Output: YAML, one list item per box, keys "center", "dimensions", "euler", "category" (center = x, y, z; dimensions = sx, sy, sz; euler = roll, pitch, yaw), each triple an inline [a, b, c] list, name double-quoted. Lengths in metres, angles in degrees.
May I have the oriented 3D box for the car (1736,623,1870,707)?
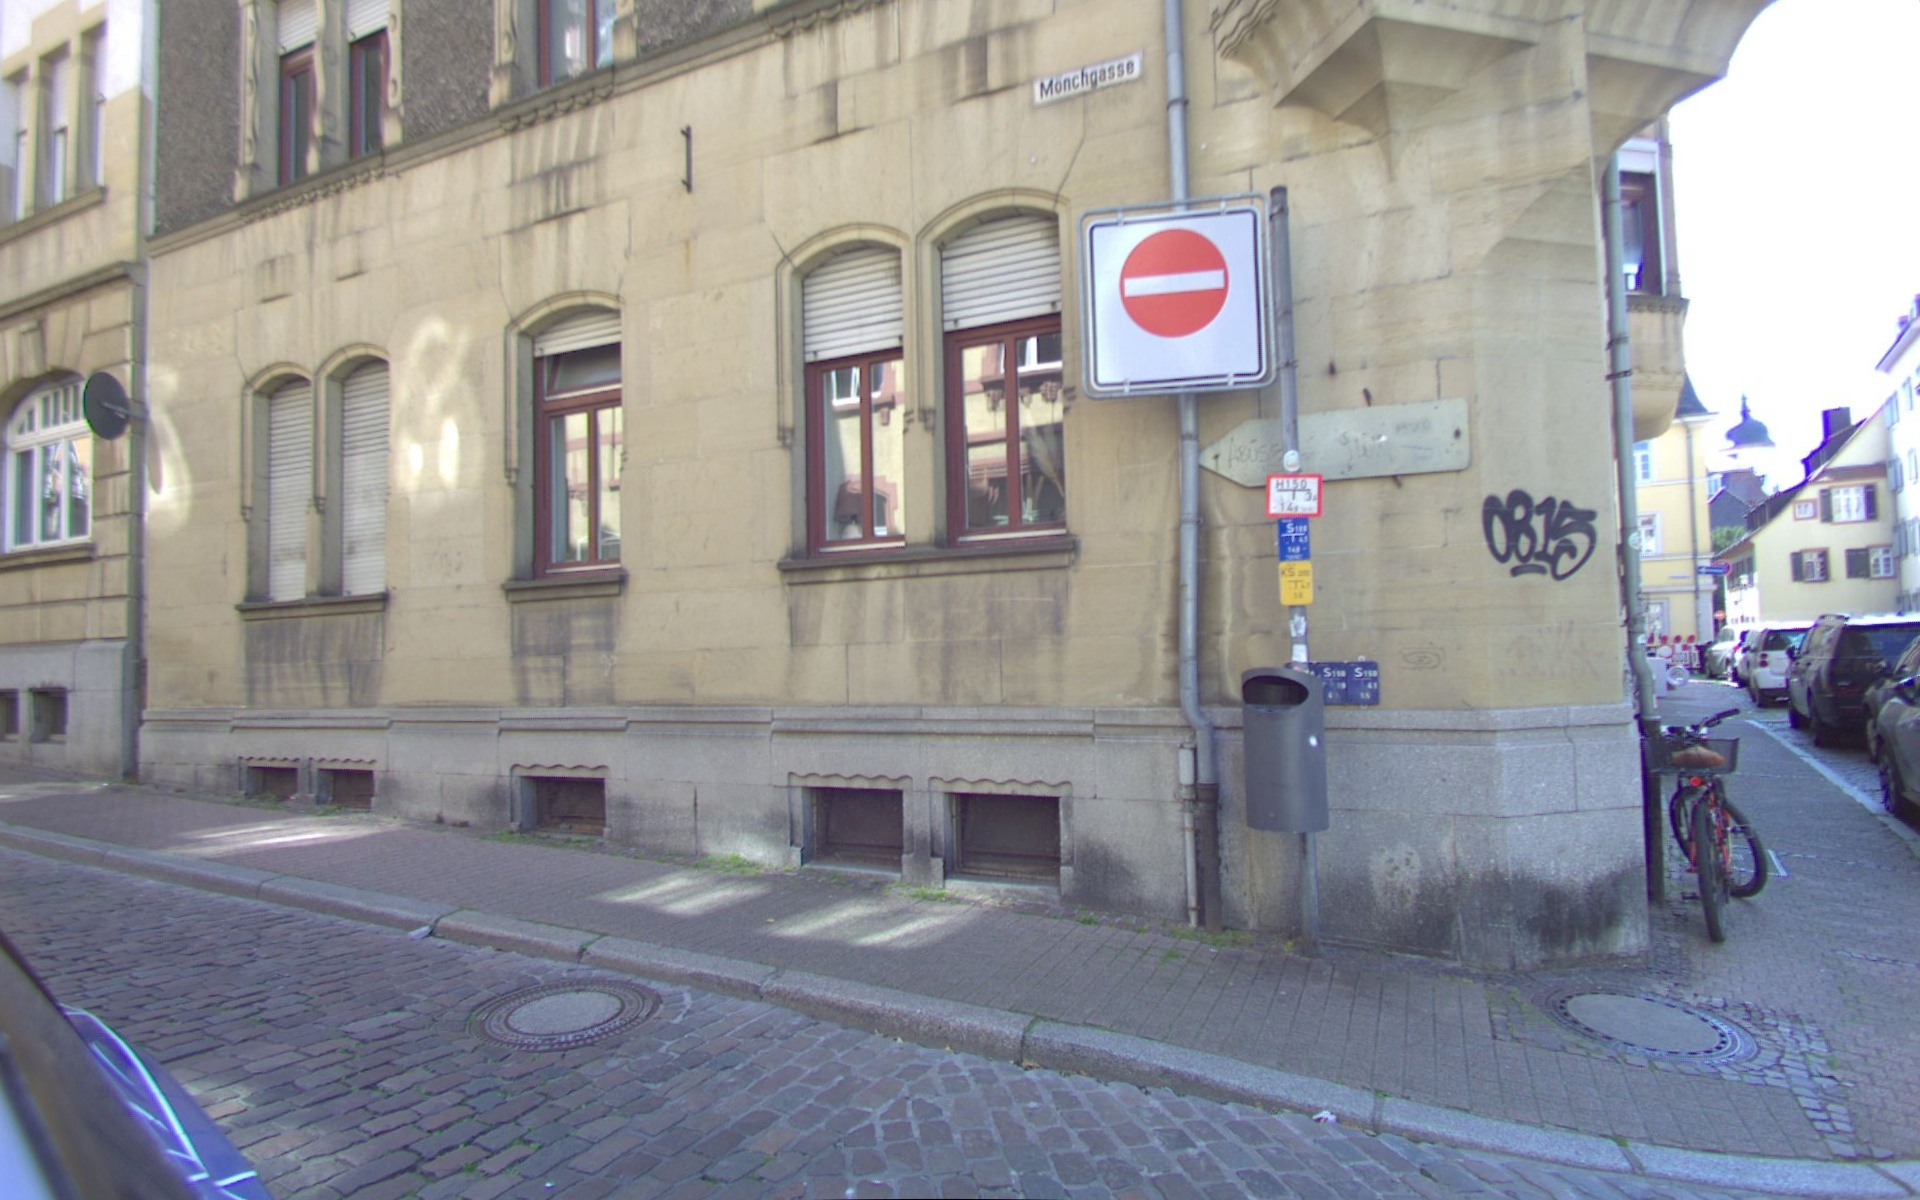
- center: [16.585, 1.218, 20.074]
  dimensions: [1.659, 1.454, 3.815]
  euler: [-2, -2, 35]
  category: "car"

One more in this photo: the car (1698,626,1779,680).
- center: [23.190, 1.552, 30.241]
  dimensions: [1.659, 1.454, 3.815]
  euler: [-2, -2, 35]
  category: "car"

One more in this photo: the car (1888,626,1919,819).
- center: [7.788, 0.911, 6.625]
  dimensions: [1.847, 1.556, 3.883]
  euler: [-3, -4, 34]
  category: "car"

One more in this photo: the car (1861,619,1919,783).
- center: [10.656, 0.972, 10.190]
  dimensions: [1.848, 1.556, 3.952]
  euler: [-2, -2, 35]
  category: "car"

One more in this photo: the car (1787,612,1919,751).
- center: [12.498, 1.010, 13.764]
  dimensions: [1.565, 1.648, 3.815]
  euler: [-2, -2, 34]
  category: "car"

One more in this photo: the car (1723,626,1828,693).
- center: [19.966, 1.402, 24.911]
  dimensions: [1.659, 1.454, 4.022]
  euler: [-2, -2, 35]
  category: "car"

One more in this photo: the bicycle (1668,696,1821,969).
- center: [4.021, 1.098, 5.265]
  dimensions: [0.495, 1.094, 1.623]
  euler: [2, -1, 34]
  category: "bicycle"
